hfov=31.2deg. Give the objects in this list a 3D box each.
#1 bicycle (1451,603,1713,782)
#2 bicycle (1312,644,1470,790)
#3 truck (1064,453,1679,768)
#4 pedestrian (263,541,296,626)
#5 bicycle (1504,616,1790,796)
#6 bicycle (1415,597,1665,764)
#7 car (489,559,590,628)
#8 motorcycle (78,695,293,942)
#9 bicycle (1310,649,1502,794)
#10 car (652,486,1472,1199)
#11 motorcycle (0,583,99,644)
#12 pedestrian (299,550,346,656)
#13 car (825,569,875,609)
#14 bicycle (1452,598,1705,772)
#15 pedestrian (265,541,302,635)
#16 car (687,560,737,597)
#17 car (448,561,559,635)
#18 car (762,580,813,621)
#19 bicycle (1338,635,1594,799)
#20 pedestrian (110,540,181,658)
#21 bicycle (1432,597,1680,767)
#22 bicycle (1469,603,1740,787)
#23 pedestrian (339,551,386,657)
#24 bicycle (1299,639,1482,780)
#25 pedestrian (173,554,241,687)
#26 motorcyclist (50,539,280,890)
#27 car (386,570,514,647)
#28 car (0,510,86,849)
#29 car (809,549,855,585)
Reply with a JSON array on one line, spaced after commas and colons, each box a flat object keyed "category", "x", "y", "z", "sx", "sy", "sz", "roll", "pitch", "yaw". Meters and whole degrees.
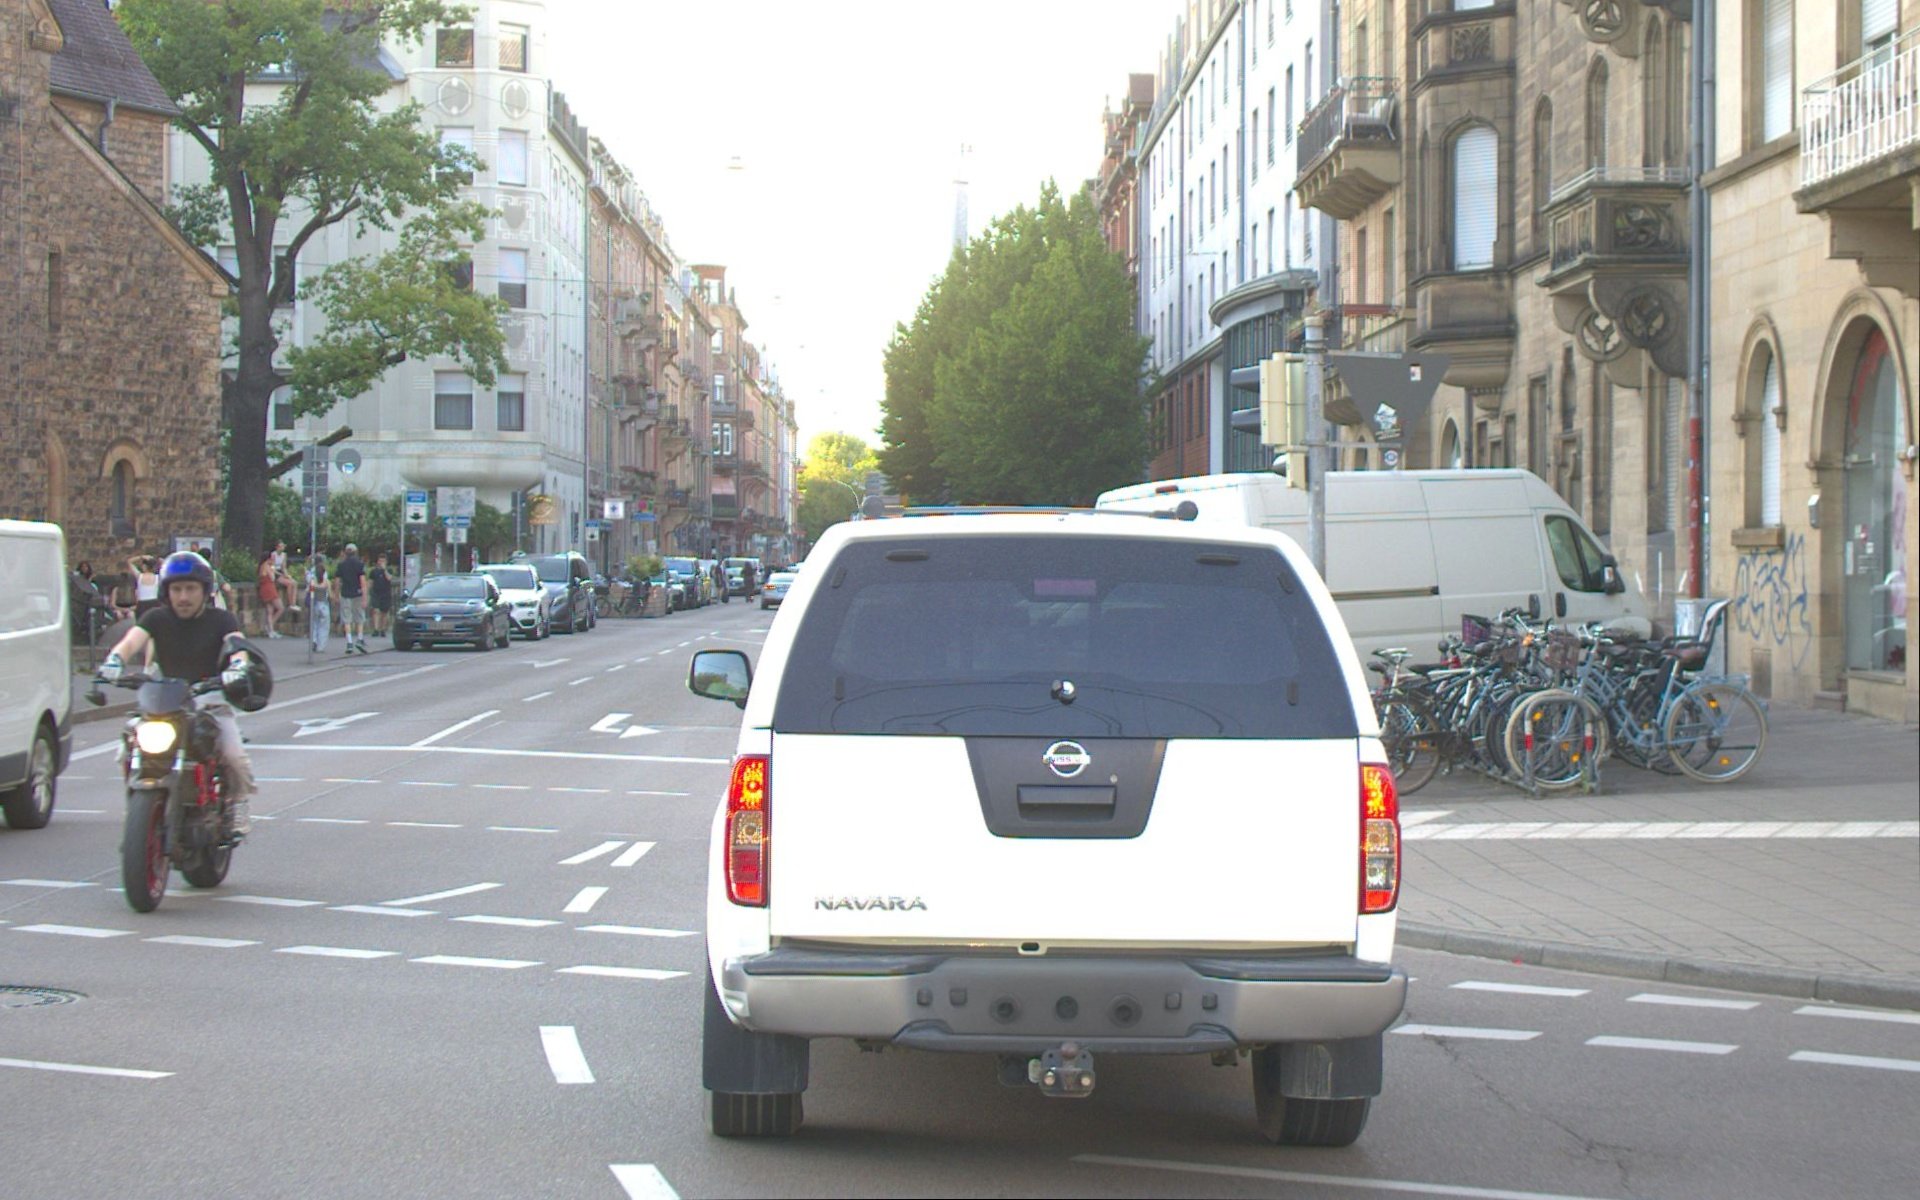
[{"category": "bicycle", "x": 4.650, "y": 0.682, "z": 25.737, "sx": 1.817, "sy": 1.233, "sz": 0.478, "roll": -3, "pitch": 0, "yaw": -1}, {"category": "bicycle", "x": 3.192, "y": 0.863, "z": 25.461, "sx": 1.077, "sy": 1.021, "sz": 0.317, "roll": -3, "pitch": 0, "yaw": -1}, {"category": "truck", "x": 3.765, "y": 0.079, "z": 30.658, "sx": 5.657, "sy": 2.556, "sz": 2.287, "roll": 0, "pitch": 1, "yaw": -43}, {"category": "pedestrian", "x": -13.633, "y": -0.335, "z": 68.869, "sx": 0.560, "sy": 1.690, "sz": 0.645, "roll": 1, "pitch": 0, "yaw": -7}, {"category": "bicycle", "x": 4.801, "y": 0.733, "z": 24.083, "sx": 1.817, "sy": 1.146, "sz": 0.636, "roll": -3, "pitch": 0, "yaw": -1}, {"category": "bicycle", "x": 4.648, "y": 0.641, "z": 27.599, "sx": 1.855, "sy": 1.233, "sz": 0.531, "roll": -3, "pitch": 0, "yaw": -1}, {"category": "car", "x": -9.816, "y": -0.155, "z": 80.493, "sx": 1.858, "sy": 1.524, "sz": 4.000, "roll": 1, "pitch": 0, "yaw": 0}, {"category": "motorcycle", "x": -3.689, "y": 1.015, "z": 16.507, "sx": 0.599, "sy": 1.040, "sz": 1.946, "roll": 1, "pitch": 0, "yaw": -1}, {"category": "bicycle", "x": 3.393, "y": 0.922, "z": 26.170, "sx": 1.371, "sy": 1.021, "sz": 0.317, "roll": -3, "pitch": 0, "yaw": -1}, {"category": "car", "x": 0.266, "y": 0.633, "z": 10.529, "sx": 1.993, "sy": 1.803, "sz": 4.000, "roll": 1, "pitch": 0, "yaw": 0}, {"category": "motorcycle", "x": -15.689, "y": 0.225, "z": 58.253, "sx": 2.167, "sy": 0.984, "sz": 0.593, "roll": 1, "pitch": 0, "yaw": 21}, {"category": "pedestrian", "x": -11.238, "y": 0.055, "z": 60.596, "sx": 0.642, "sy": 1.849, "sz": 0.562, "roll": 1, "pitch": 0, "yaw": -28}, {"category": "car", "x": -4.426, "y": -0.444, "z": 138.589, "sx": 1.858, "sy": 1.524, "sz": 4.000, "roll": 1, "pitch": 0, "yaw": 0}, {"category": "bicycle", "x": 4.755, "y": 0.647, "z": 26.461, "sx": 1.817, "sy": 1.233, "sz": 0.412, "roll": -3, "pitch": 0, "yaw": -1}, {"category": "pedestrian", "x": -13.389, "y": -0.242, "z": 68.026, "sx": 0.642, "sy": 1.849, "sz": 0.562, "roll": 1, "pitch": 0, "yaw": -14}, {"category": "car", "x": -10.555, "y": -0.917, "z": 146.635, "sx": 1.858, "sy": 1.524, "sz": 4.000, "roll": 1, "pitch": 0, "yaw": 0}, {"category": "car", "x": -9.782, "y": -0.050, "z": 73.910, "sx": 1.858, "sy": 1.524, "sz": 4.000, "roll": 1, "pitch": 0, "yaw": 0}, {"category": "car", "x": -6.708, "y": 0.009, "z": 134.001, "sx": 1.858, "sy": 1.524, "sz": 4.000, "roll": 1, "pitch": 0, "yaw": -2}, {"category": "bicycle", "x": 3.610, "y": 0.832, "z": 24.570, "sx": 1.726, "sy": 1.080, "sz": 0.317, "roll": -3, "pitch": 0, "yaw": -1}, {"category": "pedestrian", "x": -11.727, "y": -0.014, "z": 49.515, "sx": 0.812, "sy": 1.664, "sz": 0.859, "roll": 1, "pitch": 0, "yaw": -1}, {"category": "bicycle", "x": 4.687, "y": 0.642, "z": 27.067, "sx": 1.817, "sy": 1.233, "sz": 0.410, "roll": -3, "pitch": 0, "yaw": -1}, {"category": "bicycle", "x": 4.684, "y": 0.682, "z": 25.025, "sx": 1.817, "sy": 1.233, "sz": 0.488, "roll": -3, "pitch": 0, "yaw": -1}, {"category": "pedestrian", "x": -10.586, "y": 0.072, "z": 60.877, "sx": 0.642, "sy": 1.849, "sz": 0.562, "roll": 1, "pitch": 0, "yaw": -28}, {"category": "bicycle", "x": 3.344, "y": 0.846, "z": 26.717, "sx": 1.333, "sy": 1.021, "sz": 0.317, "roll": -3, "pitch": 0, "yaw": -1}, {"category": "pedestrian", "x": -10.884, "y": 0.298, "z": 49.711, "sx": 0.812, "sy": 1.894, "sz": 0.666, "roll": 1, "pitch": 0, "yaw": -1}, {"category": "motorcyclist", "x": -3.845, "y": 0.536, "z": 16.700, "sx": 0.874, "sy": 1.639, "sz": 0.963, "roll": 1, "pitch": 0, "yaw": -1}, {"category": "car", "x": -9.713, "y": 0.143, "z": 65.714, "sx": 1.858, "sy": 1.393, "sz": 4.000, "roll": 1, "pitch": 0, "yaw": 0}, {"category": "car", "x": -6.684, "y": 0.476, "z": 20.004, "sx": 1.993, "sy": 2.007, "sz": 4.951, "roll": 0, "pitch": 0, "yaw": -1}, {"category": "car", "x": -5.555, "y": -1.424, "z": 148.916, "sx": 1.920, "sy": 1.524, "sz": 4.000, "roll": 1, "pitch": 0, "yaw": -2}]
